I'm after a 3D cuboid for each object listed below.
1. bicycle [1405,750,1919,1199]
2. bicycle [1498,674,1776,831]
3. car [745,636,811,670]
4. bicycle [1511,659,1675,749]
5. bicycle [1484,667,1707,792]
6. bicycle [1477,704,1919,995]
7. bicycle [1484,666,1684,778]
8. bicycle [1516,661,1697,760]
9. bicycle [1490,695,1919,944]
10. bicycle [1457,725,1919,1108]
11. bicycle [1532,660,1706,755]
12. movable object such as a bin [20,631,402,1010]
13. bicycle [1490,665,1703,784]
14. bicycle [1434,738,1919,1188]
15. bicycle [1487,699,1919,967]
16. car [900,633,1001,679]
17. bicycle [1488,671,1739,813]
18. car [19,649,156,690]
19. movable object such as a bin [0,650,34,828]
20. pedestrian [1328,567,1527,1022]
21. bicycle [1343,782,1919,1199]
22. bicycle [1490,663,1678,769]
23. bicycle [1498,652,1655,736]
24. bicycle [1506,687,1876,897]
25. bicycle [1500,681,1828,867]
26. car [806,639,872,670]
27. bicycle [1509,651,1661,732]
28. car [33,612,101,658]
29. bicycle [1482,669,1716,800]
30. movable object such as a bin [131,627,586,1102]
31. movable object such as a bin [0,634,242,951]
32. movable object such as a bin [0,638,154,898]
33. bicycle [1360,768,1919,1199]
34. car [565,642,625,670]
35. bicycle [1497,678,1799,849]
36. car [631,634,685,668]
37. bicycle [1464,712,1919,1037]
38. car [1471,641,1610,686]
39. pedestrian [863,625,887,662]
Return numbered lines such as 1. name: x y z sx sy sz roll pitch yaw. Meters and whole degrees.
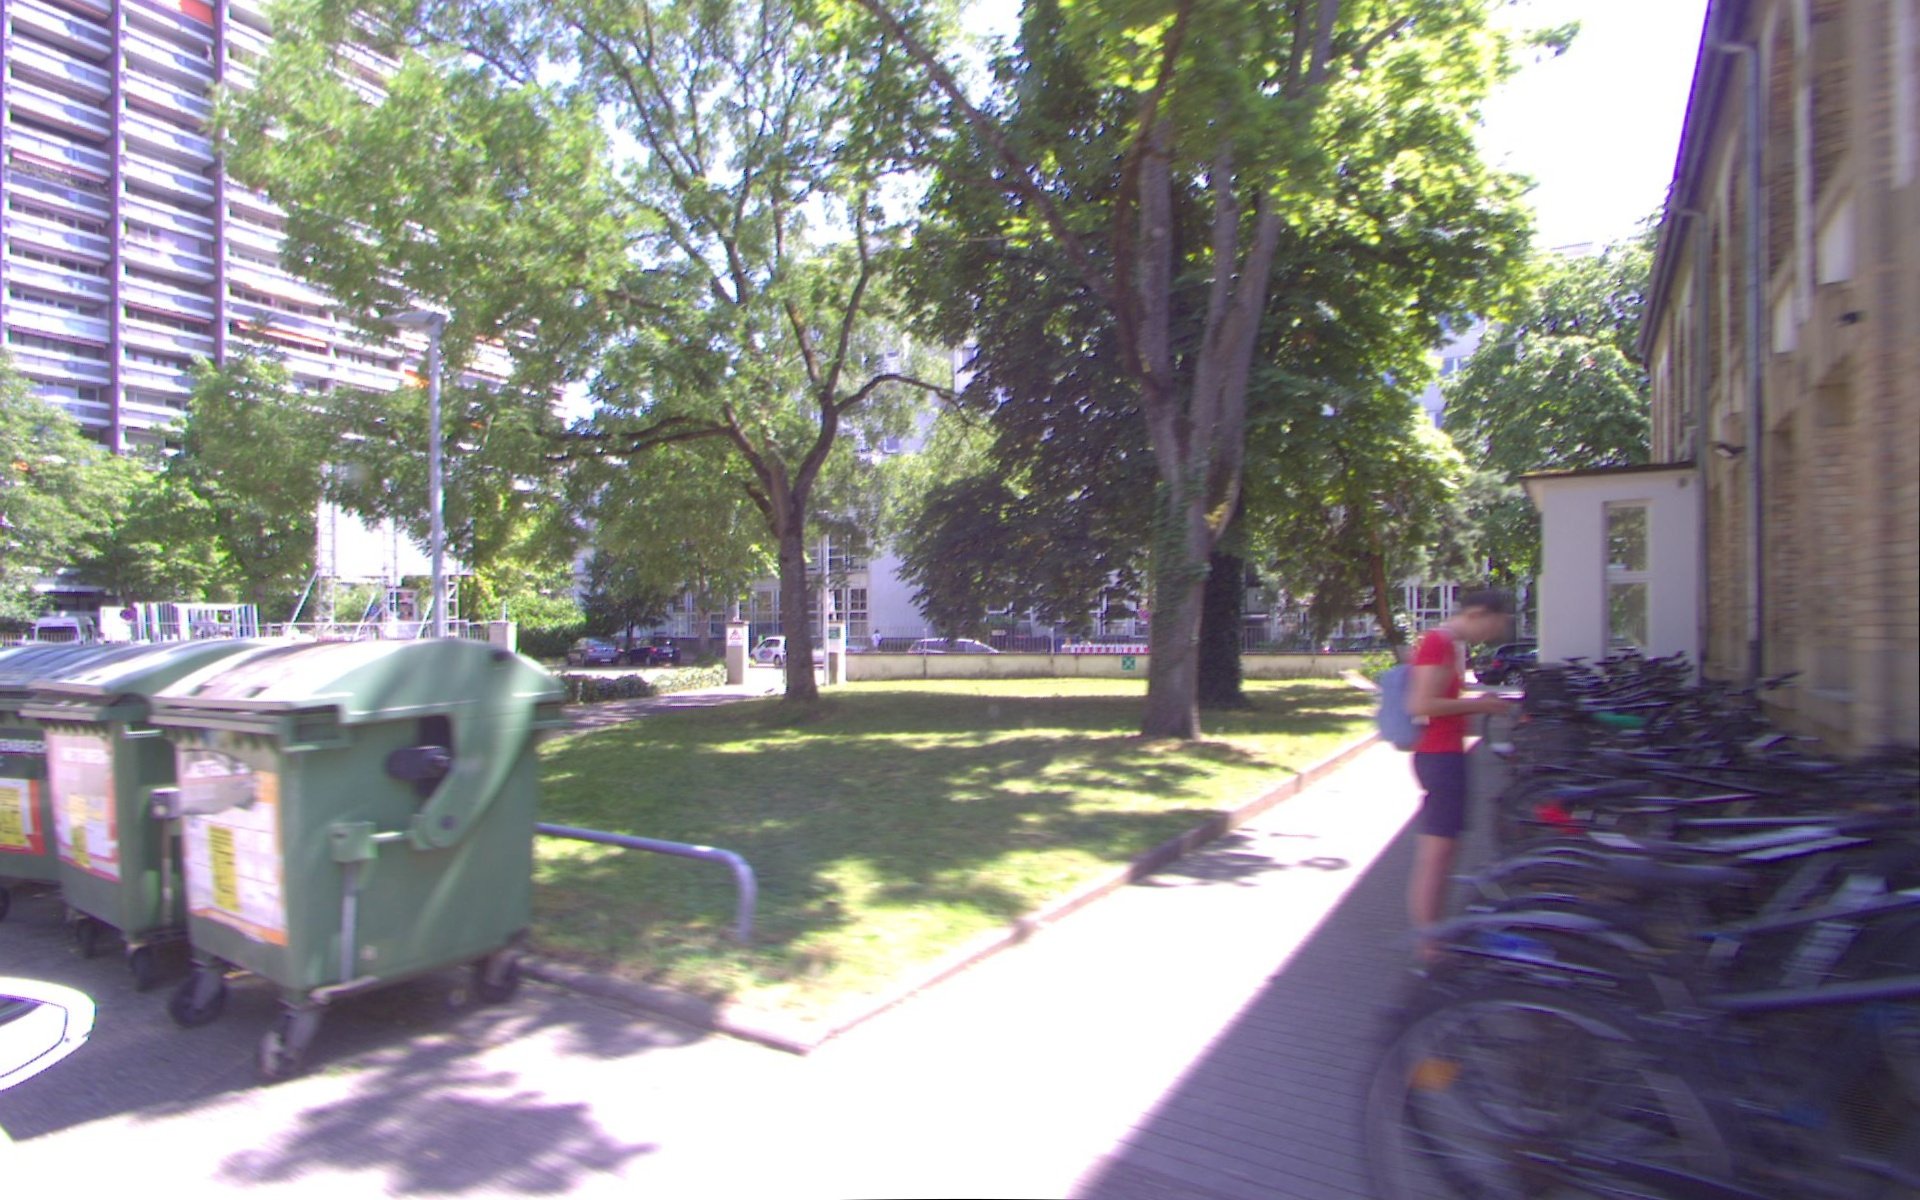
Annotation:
1. bicycle: 2.202 1.029 2.673 1.801 1.116 0.404 -2 -1 33
2. bicycle: 5.391 1.180 8.092 1.801 1.116 0.404 -2 -1 33
3. car: -9.238 2.673 50.759 1.652 1.610 3.660 1 -2 -42
4. bicycle: 8.366 1.349 13.297 1.801 1.116 0.404 -2 -1 33
5. bicycle: 6.209 1.232 9.873 1.801 1.116 0.404 -2 -1 33
6. bicycle: 3.448 1.084 4.673 1.801 1.116 0.404 -2 -1 33
7. bicycle: 6.746 1.285 10.896 1.801 1.116 0.404 -2 -1 33
8. bicycle: 7.821 1.318 12.189 1.801 1.116 0.404 -2 -1 33
9. bicycle: 3.915 1.105 5.430 1.801 1.116 0.404 -2 -1 33
10. bicycle: 2.787 1.053 3.540 1.801 1.116 0.404 -2 -1 33
11. bicycle: 8.276 1.328 12.649 1.801 1.116 0.404 -2 -1 33
12. movable object such as a bin: -3.542 0.896 4.753 1.358 1.476 1.073 -2 -2 34
13. bicycle: 6.495 1.244 10.308 1.801 1.116 0.404 -2 -1 33
14. bicycle: 2.456 1.039 3.030 1.801 1.116 0.404 -2 -1 33
15. bicycle: 3.691 1.094 5.040 1.801 1.116 0.404 -2 -1 33
16. car: -0.291 1.885 33.841 3.267 1.498 1.433 -1 -1 4
17. bicycle: 5.682 1.201 8.810 1.801 1.116 0.404 -2 -1 33
18. car: -31.505 2.466 36.297 1.583 1.337 3.727 -1 -2 4
19. movable object such as a bin: -8.695 1.165 8.407 1.358 1.476 1.073 -2 -2 34
20. pedestrian: 2.022 0.771 4.329 0.680 1.771 0.549 -1 -1 34
21. bicycle: 1.693 0.983 1.833 1.801 1.116 0.404 -2 -1 33
22. bicycle: 7.147 1.303 11.542 1.801 1.116 0.404 -2 -1 33
23. bicycle: 8.629 1.330 14.080 1.802 1.115 0.404 -5 -3 33
24. bicycle: 4.454 1.127 6.251 1.801 1.116 0.404 -2 -1 33
25. bicycle: 4.793 1.148 6.953 1.801 1.116 0.404 -2 -1 33
26. car: -6.087 2.709 50.228 1.650 1.433 3.683 1 -2 -38
27. bicycle: 9.110 1.345 14.647 1.802 1.115 0.404 -5 -3 33
28. car: -47.186 1.857 53.011 2.164 2.287 4.837 0 -2 -35
29. bicycle: 5.944 1.219 9.407 1.801 1.116 0.404 -2 -1 33
30. movable object such as a bin: -2.363 0.856 3.957 1.358 1.476 1.073 -2 -2 34
31. movable object such as a bin: -4.815 0.933 5.456 1.358 1.476 1.073 -2 -2 34
32. movable object such as a bin: -5.957 0.988 6.272 1.358 1.476 1.073 -2 -2 34
33. bicycle: 1.900 1.018 2.256 1.801 1.116 0.404 -2 -1 33
34. car: -18.599 2.815 50.958 1.896 1.327 3.904 1 -2 -35
35. bicycle: 5.047 1.162 7.469 1.801 1.116 0.404 -2 -1 33
36. car: -15.463 2.560 51.122 1.987 1.650 3.915 0 -2 -27
37. bicycle: 3.143 1.071 4.190 1.801 1.116 0.404 -2 -1 33
38. car: 18.597 2.020 32.178 3.461 1.359 1.654 -1 -2 6
39. pedestrian: -4.753 2.450 56.058 0.868 2.039 0.987 -2 -2 44
